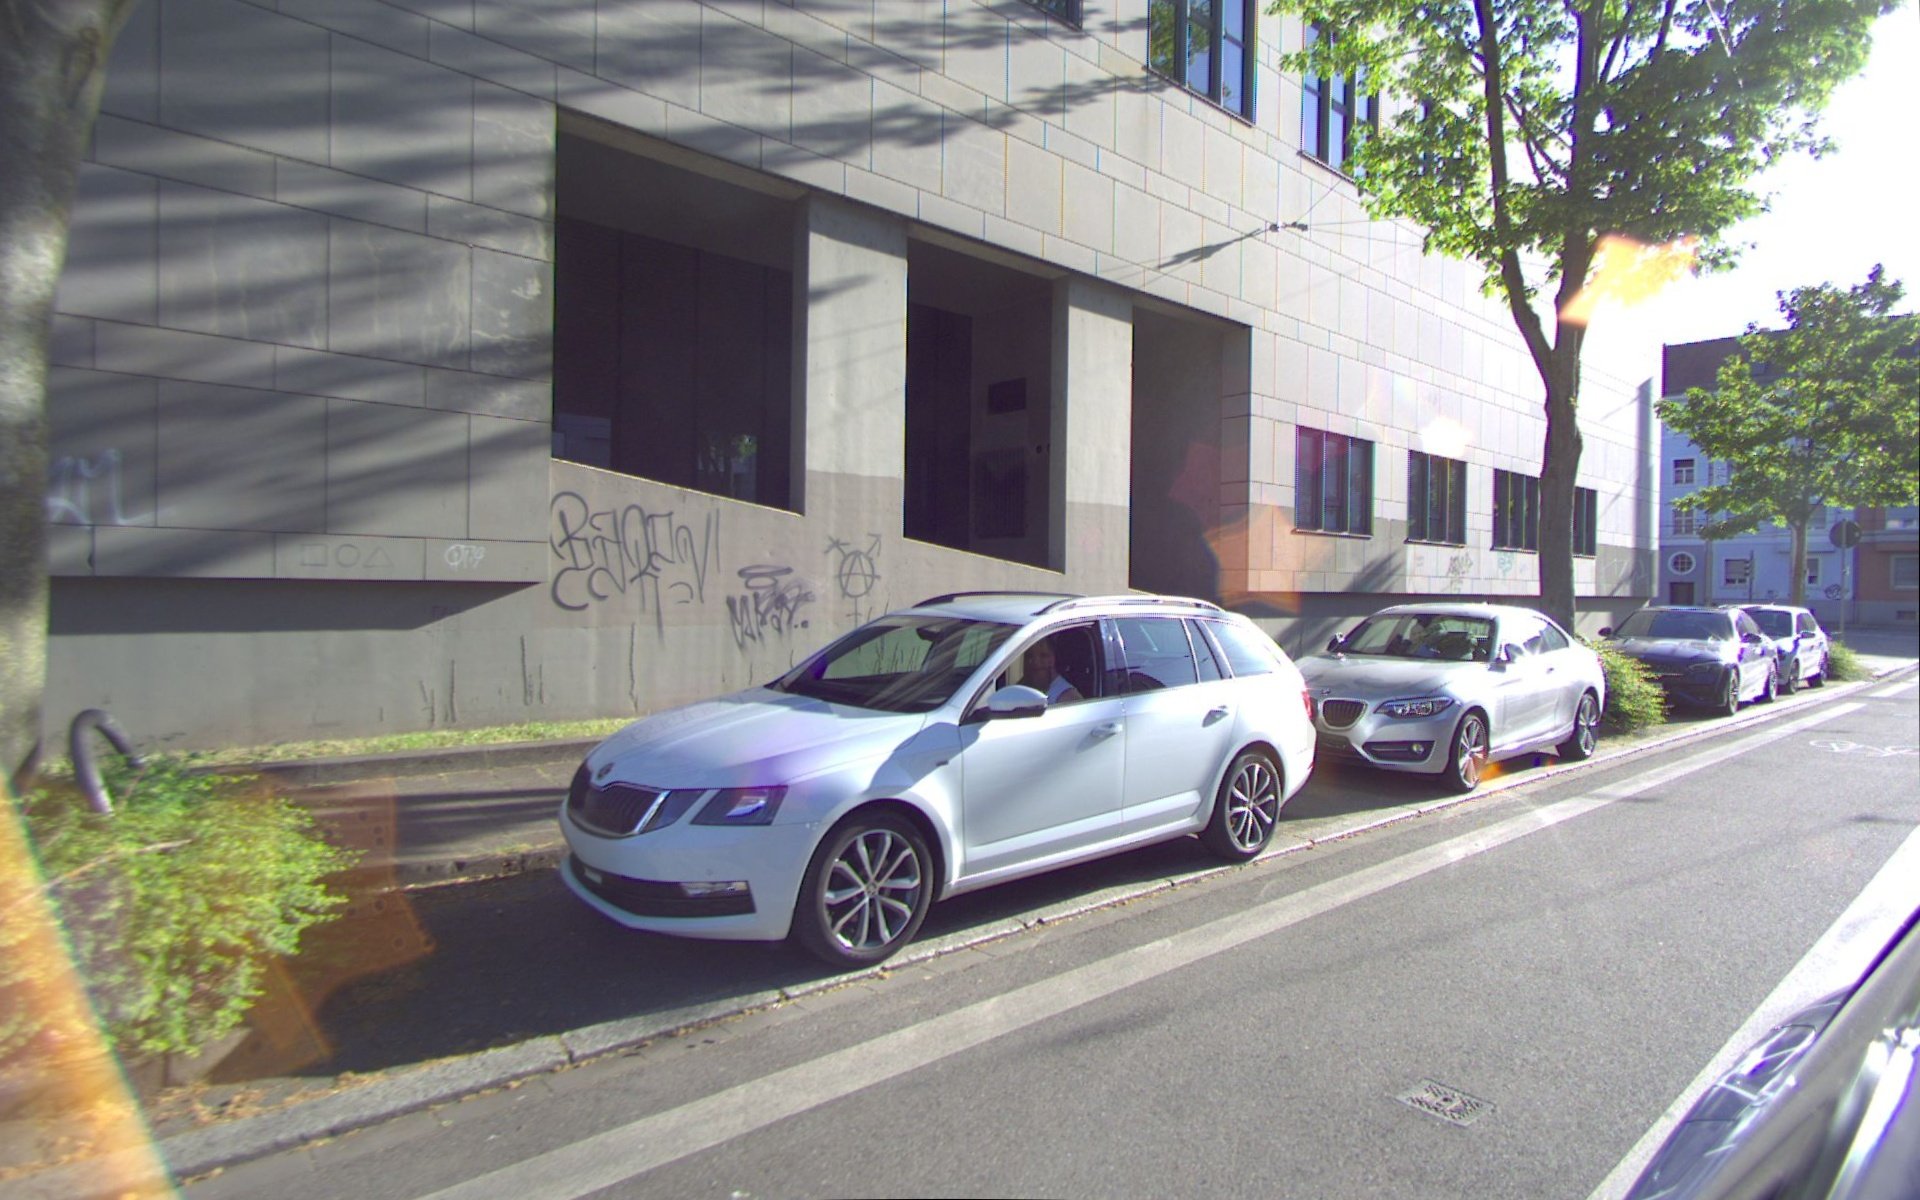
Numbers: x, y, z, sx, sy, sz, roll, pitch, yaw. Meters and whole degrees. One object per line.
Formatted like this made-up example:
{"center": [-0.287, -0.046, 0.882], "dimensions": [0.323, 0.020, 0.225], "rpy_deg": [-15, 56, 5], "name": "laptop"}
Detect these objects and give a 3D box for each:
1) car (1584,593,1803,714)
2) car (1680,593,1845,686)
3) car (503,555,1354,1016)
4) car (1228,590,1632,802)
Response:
{"center": [10.931, 0.657, 14.947], "dimensions": [4.582, 1.425, 1.680], "rpy_deg": [-1, 3, -42], "name": "car"}
{"center": [14.740, 0.640, 18.518], "dimensions": [3.930, 1.498, 1.653], "rpy_deg": [-1, 1, -40], "name": "car"}
{"center": [0.185, 0.616, 5.464], "dimensions": [4.542, 1.509, 1.715], "rpy_deg": [1, 0, -41], "name": "car"}
{"center": [4.416, 0.660, 9.198], "dimensions": [4.253, 1.425, 1.712], "rpy_deg": [-1, 3, -41], "name": "car"}
